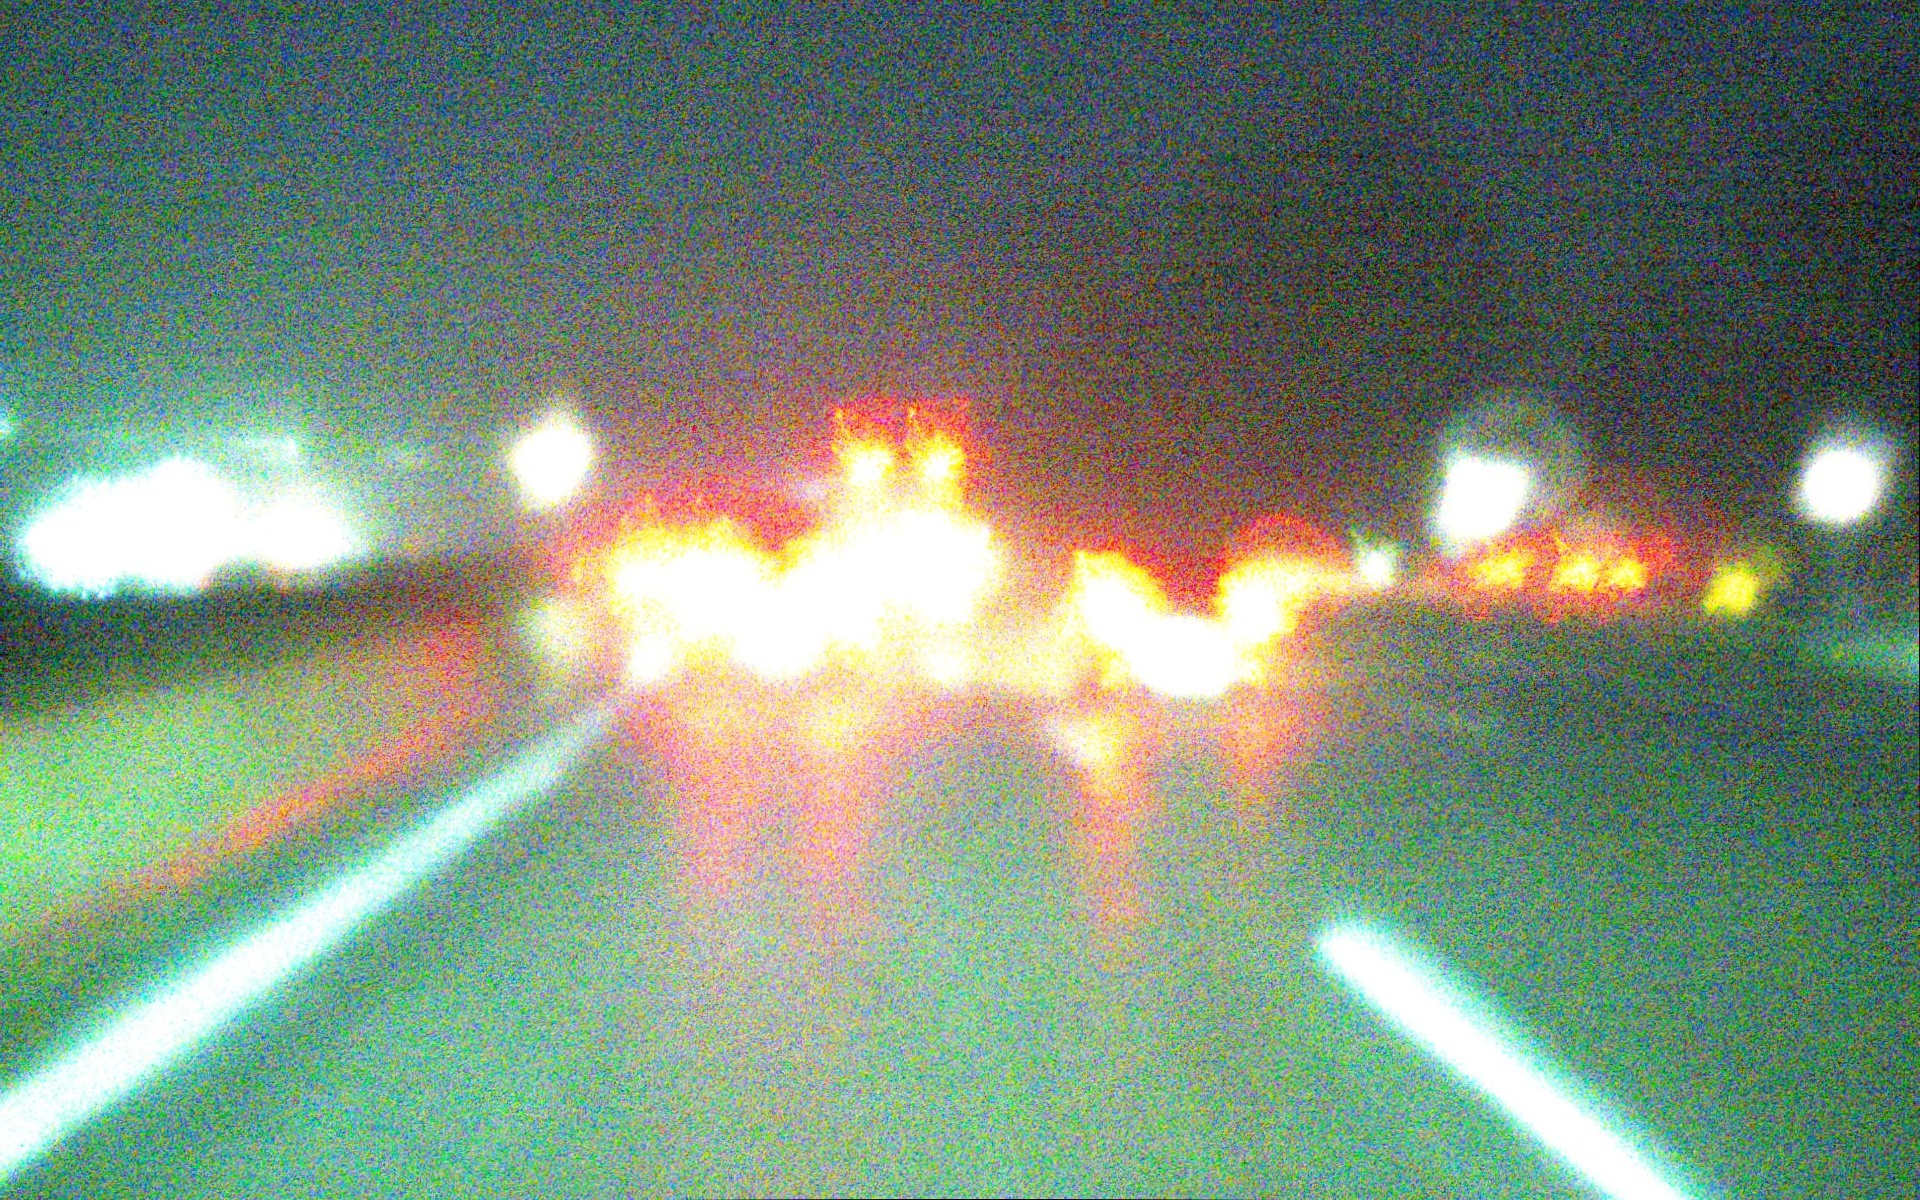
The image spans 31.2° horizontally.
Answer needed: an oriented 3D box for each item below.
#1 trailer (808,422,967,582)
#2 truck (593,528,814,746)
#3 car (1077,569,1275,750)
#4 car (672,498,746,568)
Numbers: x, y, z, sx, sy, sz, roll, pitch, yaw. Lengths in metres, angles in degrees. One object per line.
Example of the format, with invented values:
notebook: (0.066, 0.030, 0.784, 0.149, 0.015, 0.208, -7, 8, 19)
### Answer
trailer: (-2.473, -3.323, 110.977, 2.738, 4.232, 13.379, -4, 6, -10)
truck: (-2.798, 0.310, 38.182, 2.145, 2.070, 6.605, 3, 1, -3)
car: (2.084, 0.536, 34.104, 1.800, 1.612, 4.257, -1, 1, 2)
car: (-7.874, -2.116, 107.681, 1.993, 2.006, 4.002, 1, 3, -8)
